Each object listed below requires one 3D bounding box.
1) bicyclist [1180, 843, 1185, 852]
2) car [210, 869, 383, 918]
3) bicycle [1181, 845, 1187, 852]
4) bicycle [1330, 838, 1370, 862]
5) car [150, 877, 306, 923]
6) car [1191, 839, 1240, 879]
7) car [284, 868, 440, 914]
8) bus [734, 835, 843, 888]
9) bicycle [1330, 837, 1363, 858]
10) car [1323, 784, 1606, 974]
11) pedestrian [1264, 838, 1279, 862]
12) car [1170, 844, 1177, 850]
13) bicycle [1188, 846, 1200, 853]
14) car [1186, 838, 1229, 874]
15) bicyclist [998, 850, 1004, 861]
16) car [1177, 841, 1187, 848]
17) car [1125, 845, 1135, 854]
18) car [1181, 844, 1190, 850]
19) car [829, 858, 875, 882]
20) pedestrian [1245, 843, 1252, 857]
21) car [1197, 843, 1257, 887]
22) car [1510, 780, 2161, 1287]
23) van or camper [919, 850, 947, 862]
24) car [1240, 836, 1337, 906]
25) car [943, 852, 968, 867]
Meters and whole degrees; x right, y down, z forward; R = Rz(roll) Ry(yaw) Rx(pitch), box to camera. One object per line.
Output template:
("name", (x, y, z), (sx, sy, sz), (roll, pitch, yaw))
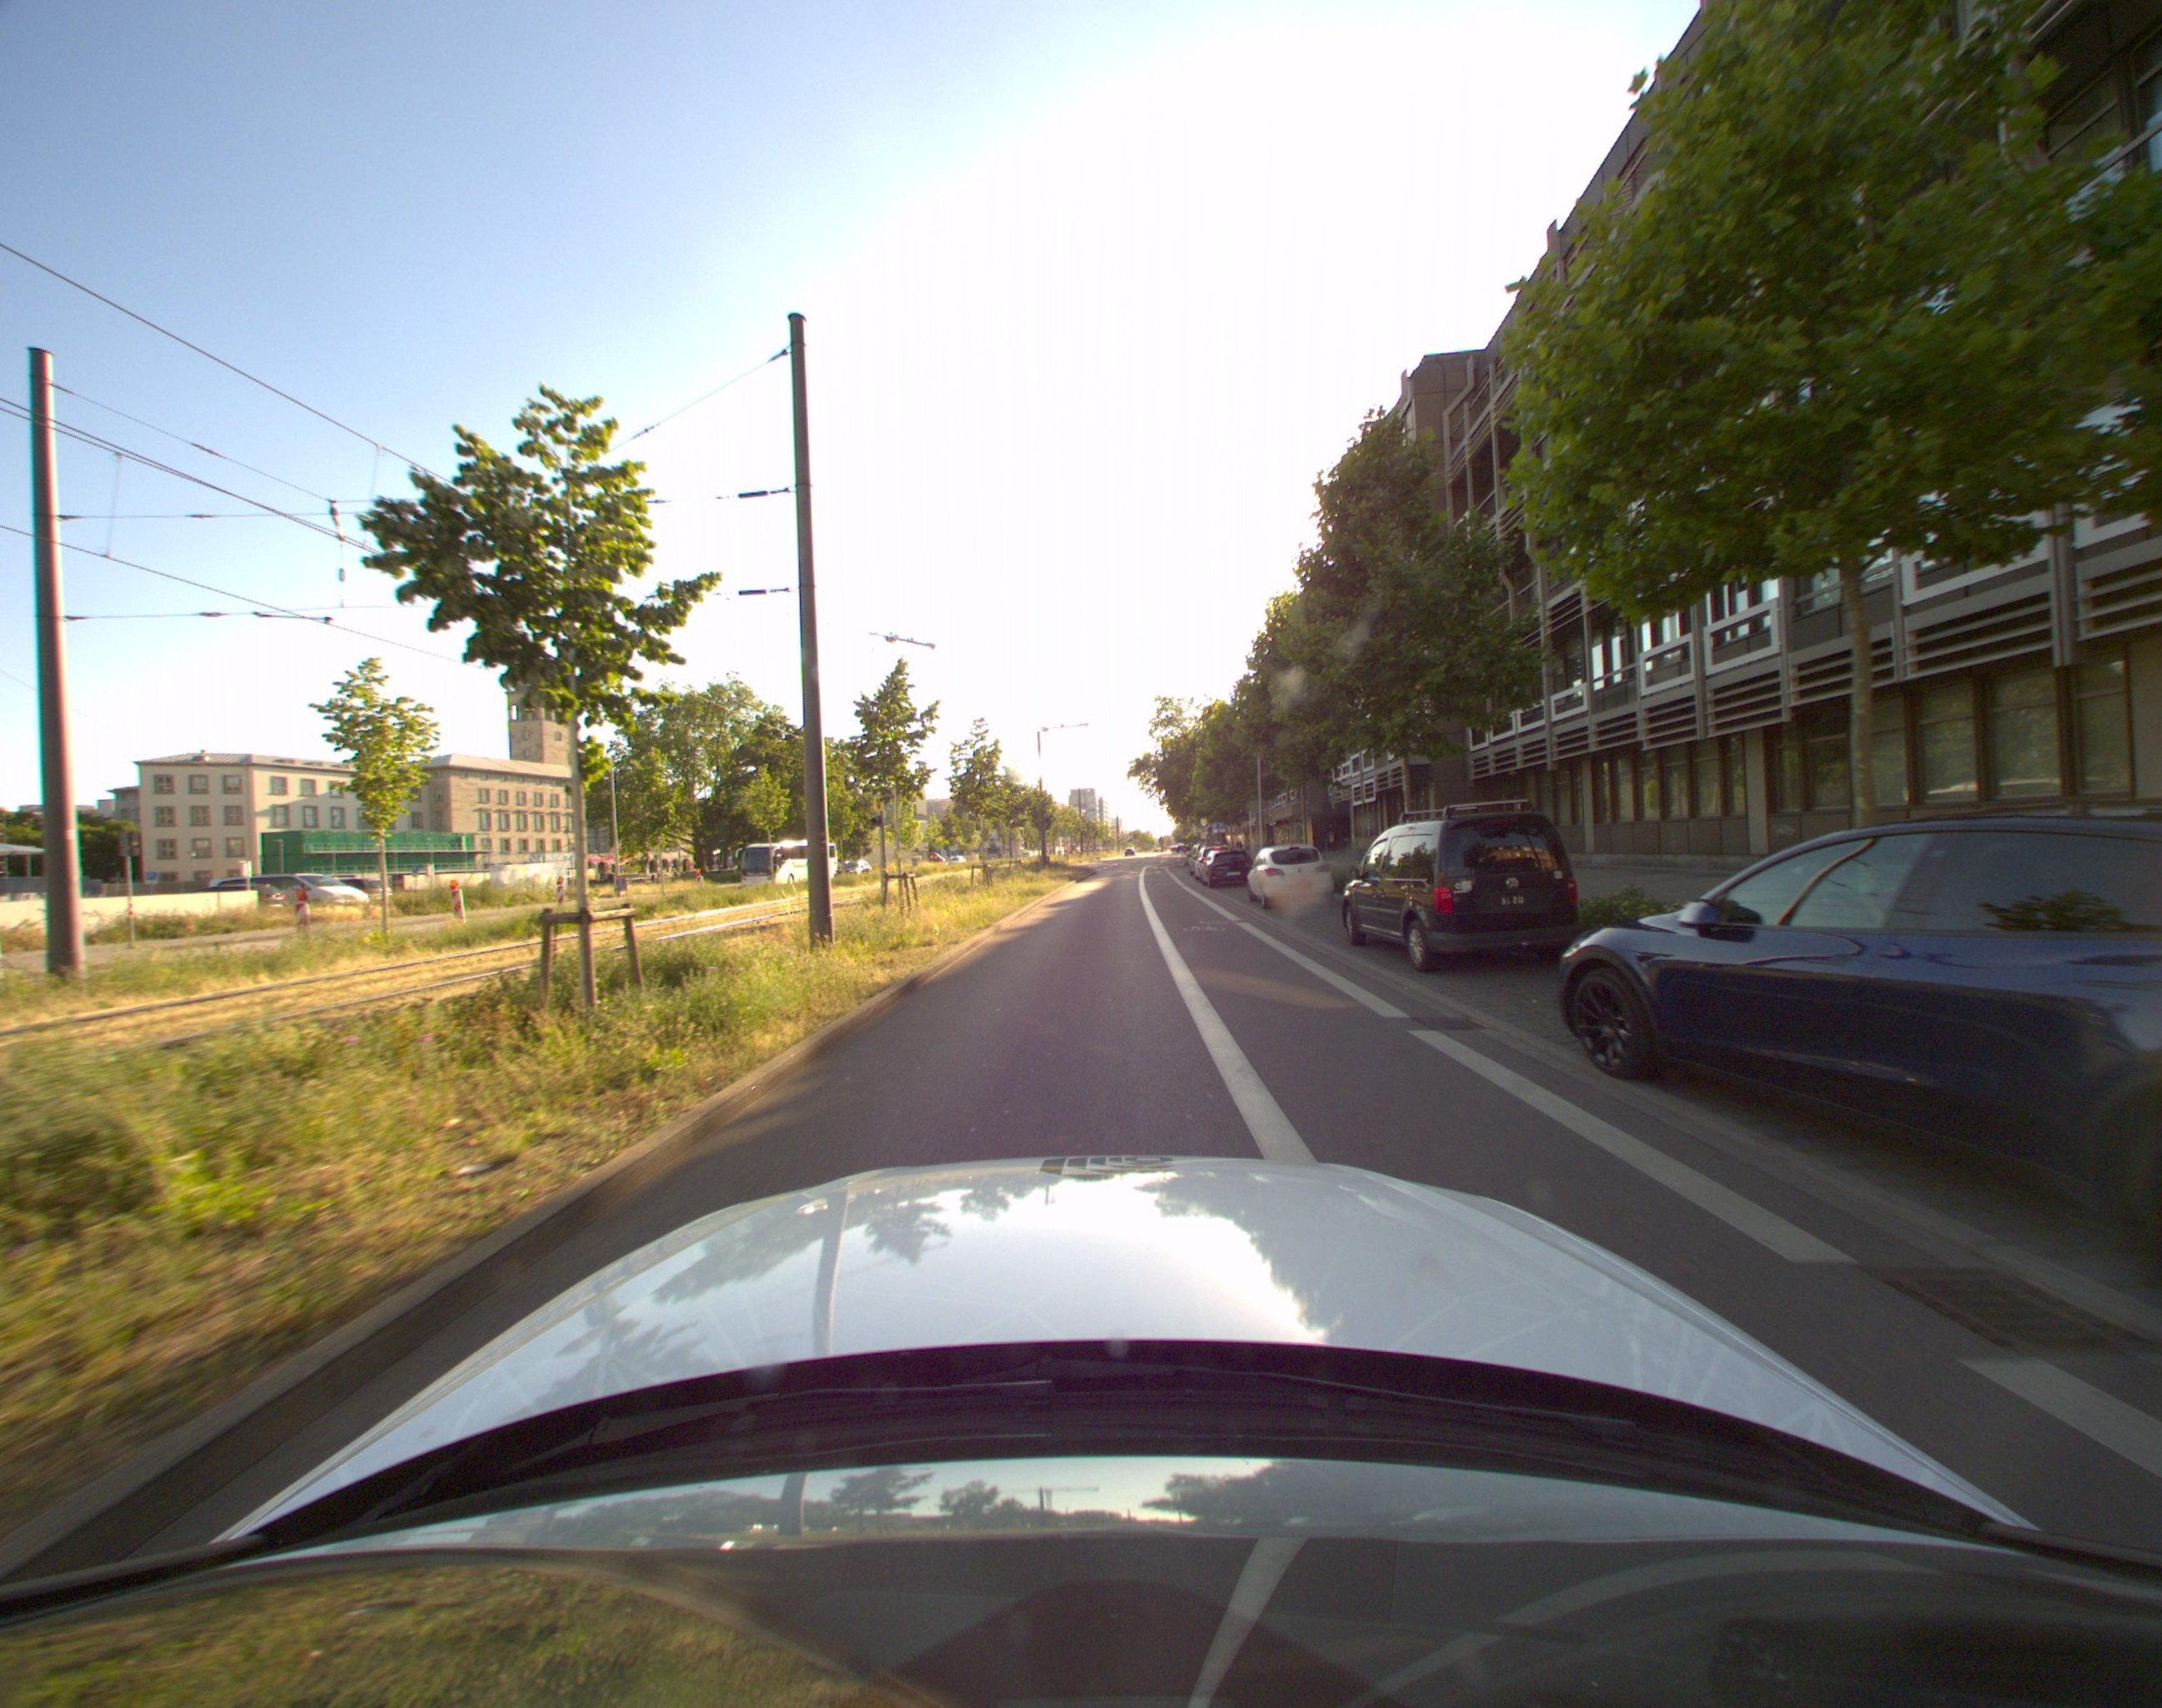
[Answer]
("bicyclist", (18.666, -1.241, 149.131), (0.797, 1.601, 0.785), (-2, 0, 1))
("car", (-32.794, 1.623, 34.148), (5.205, 1.717, 2.127), (-3, 0, 3))
("bicycle", (18.871, -1.047, 149.255), (0.796, 1.204, 2.266), (-2, 1, 3))
("bicycle", (13.875, -0.206, 41.985), (1.894, 1.093, 0.392), (-4, 0, -2))
("car", (-33.072, 1.761, 31.670), (3.970, 1.485, 2.002), (-3, 0, 3))
("car", (6.146, 0.191, 37.639), (1.721, 1.621, 4.220), (-4, 1, 3))
("car", (-32.493, 1.647, 36.918), (5.205, 1.717, 2.127), (-3, 0, 3))
("bus", (-22.266, 0.445, 63.221), (2.786, 3.594, 12.715), (-2, 0, 5))
("bicycle", (14.453, -0.353, 44.298), (1.618, 1.082, 0.393), (-3, 0, 6))
("car", (4.788, 0.243, 10.972), (1.728, 1.919, 4.395), (-4, 0, 2))
("pedestrian", (13.357, -0.295, 57.220), (0.785, 1.648, 1.138), (-3, 0, 5))
("car", (24.857, -1.958, 219.443), (1.751, 1.484, 3.855), (-3, 0, 5))
("bicycle", (18.099, -0.724, 130.586), (1.679, 0.867, 0.575), (-4, 0, 14))
("car", (6.721, 0.057, 43.562), (1.721, 1.688, 4.519), (-4, 1, 3))
("bicyclist", (-13.281, 0.211, 135.256), (0.684, 1.708, 0.955), (-3, 0, 6))
("car", (21.596, -2.026, 174.972), (1.931, 1.428, 3.931), (-3, 1, 5))
("car", (8.746, -0.795, 145.524), (1.768, 1.428, 4.006), (-2, 1, 5))
("car", (24.540, -1.648, 191.917), (1.931, 1.484, 3.931), (-3, 1, 5))
("car", (-17.519, 1.192, 62.449), (1.985, 1.651, 4.275), (-2, 0, 3))
("pedestrian", (23.460, -0.538, 114.022), (0.827, 1.856, 0.848), (-2, 0, 6))
("car", (5.638, 0.377, 31.989), (1.786, 1.449, 4.382), (-4, 1, 4))
("car", (4.344, 0.516, 3.860), (1.926, 1.598, 4.695), (-5, 1, -2))
("van or camper", (-33.076, 0.347, 181.532), (5.628, 2.414, 2.160), (-3, 0, 8))
("car", (5.209, 0.357, 20.942), (1.656, 1.489, 4.209), (-4, 1, 5))
("car", (-14.790, 0.640, 96.152), (1.985, 1.642, 4.172), (-2, 0, 4))
